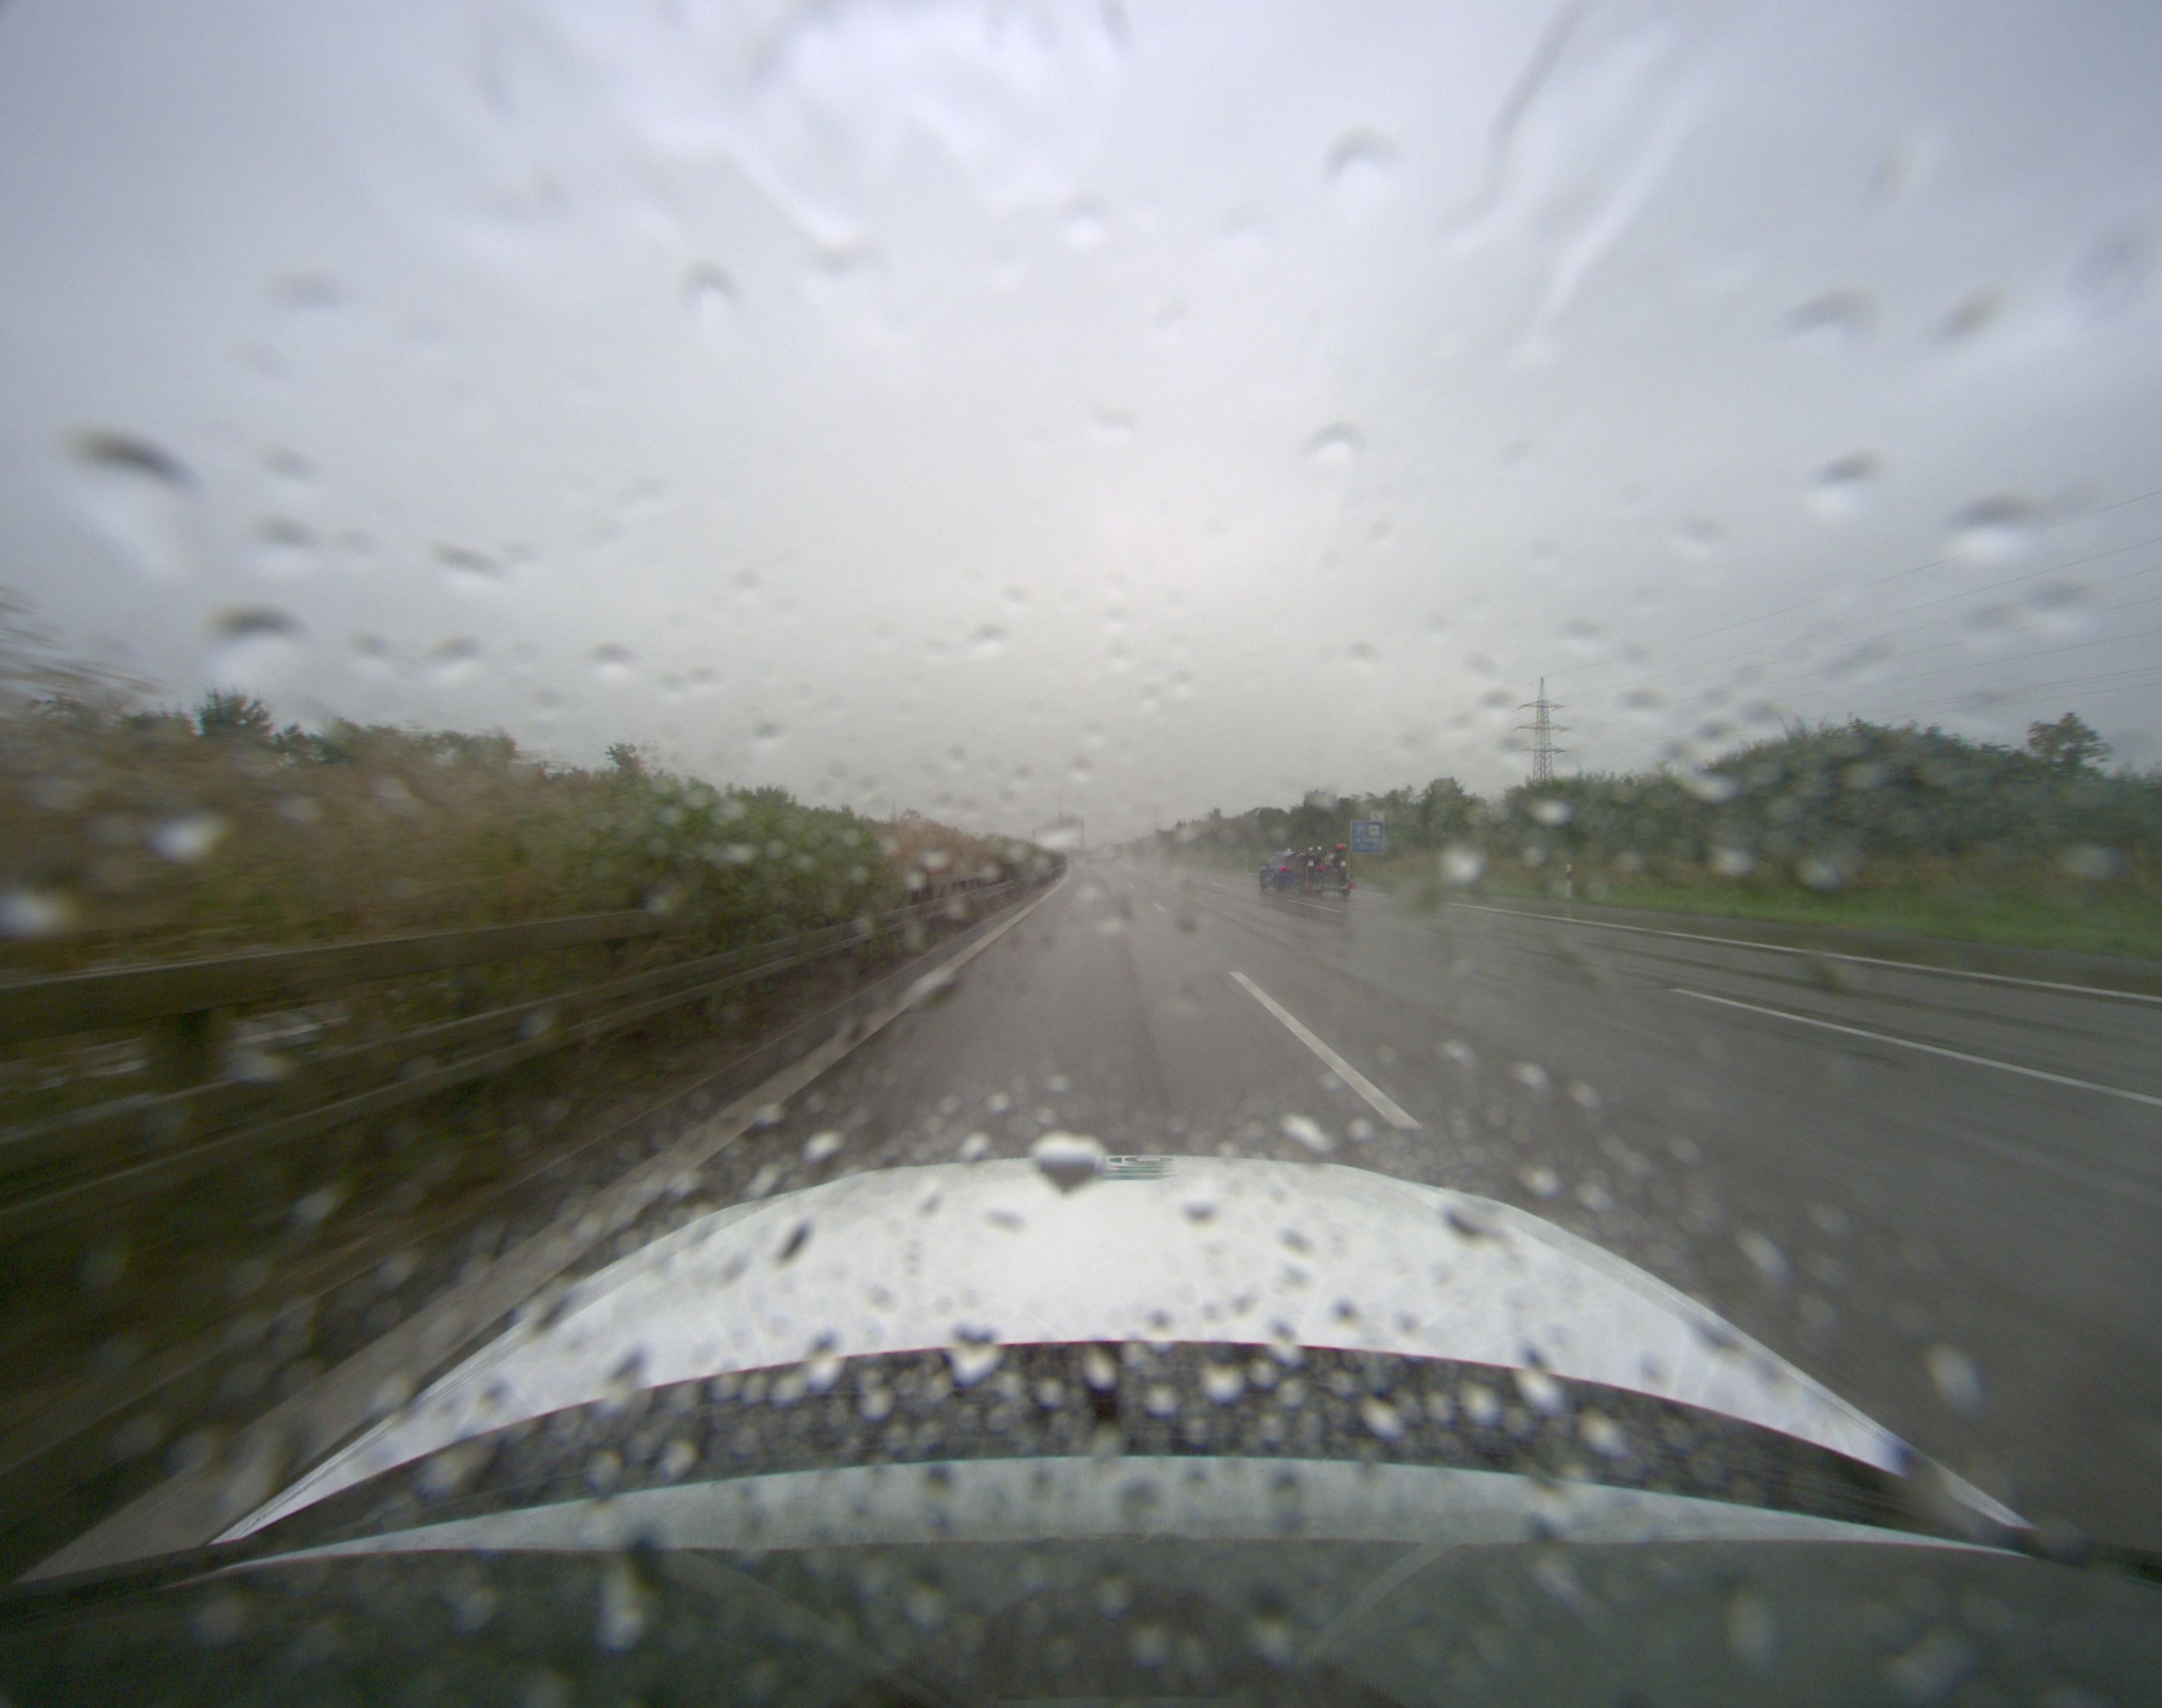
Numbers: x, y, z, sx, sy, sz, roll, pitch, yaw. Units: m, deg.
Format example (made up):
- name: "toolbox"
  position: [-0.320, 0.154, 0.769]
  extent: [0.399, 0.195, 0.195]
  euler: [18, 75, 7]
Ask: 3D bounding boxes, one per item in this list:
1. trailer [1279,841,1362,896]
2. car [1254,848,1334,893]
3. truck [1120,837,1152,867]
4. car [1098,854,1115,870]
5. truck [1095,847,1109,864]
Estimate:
- name: "trailer"
  position: [8.213, 0.494, 28.198]
  extent: [1.972, 1.785, 3.189]
  euler: [-1, -1, 1]
- name: "car"
  position: [8.321, 0.644, 32.288]
  extent: [1.986, 1.619, 4.994]
  euler: [-1, -1, 2]
- name: "truck"
  position: [9.062, -0.240, 136.582]
  extent: [4.176, 4.630, 16.098]
  euler: [-1, -1, -1]
- name: "car"
  position: [3.279, 1.047, 106.553]
  extent: [1.988, 2.014, 3.997]
  euler: [-1, 0, -2]
- name: "truck"
  position: [5.341, 0.352, 207.543]
  extent: [3.222, 4.311, 8.836]
  euler: [-1, 0, 0]
